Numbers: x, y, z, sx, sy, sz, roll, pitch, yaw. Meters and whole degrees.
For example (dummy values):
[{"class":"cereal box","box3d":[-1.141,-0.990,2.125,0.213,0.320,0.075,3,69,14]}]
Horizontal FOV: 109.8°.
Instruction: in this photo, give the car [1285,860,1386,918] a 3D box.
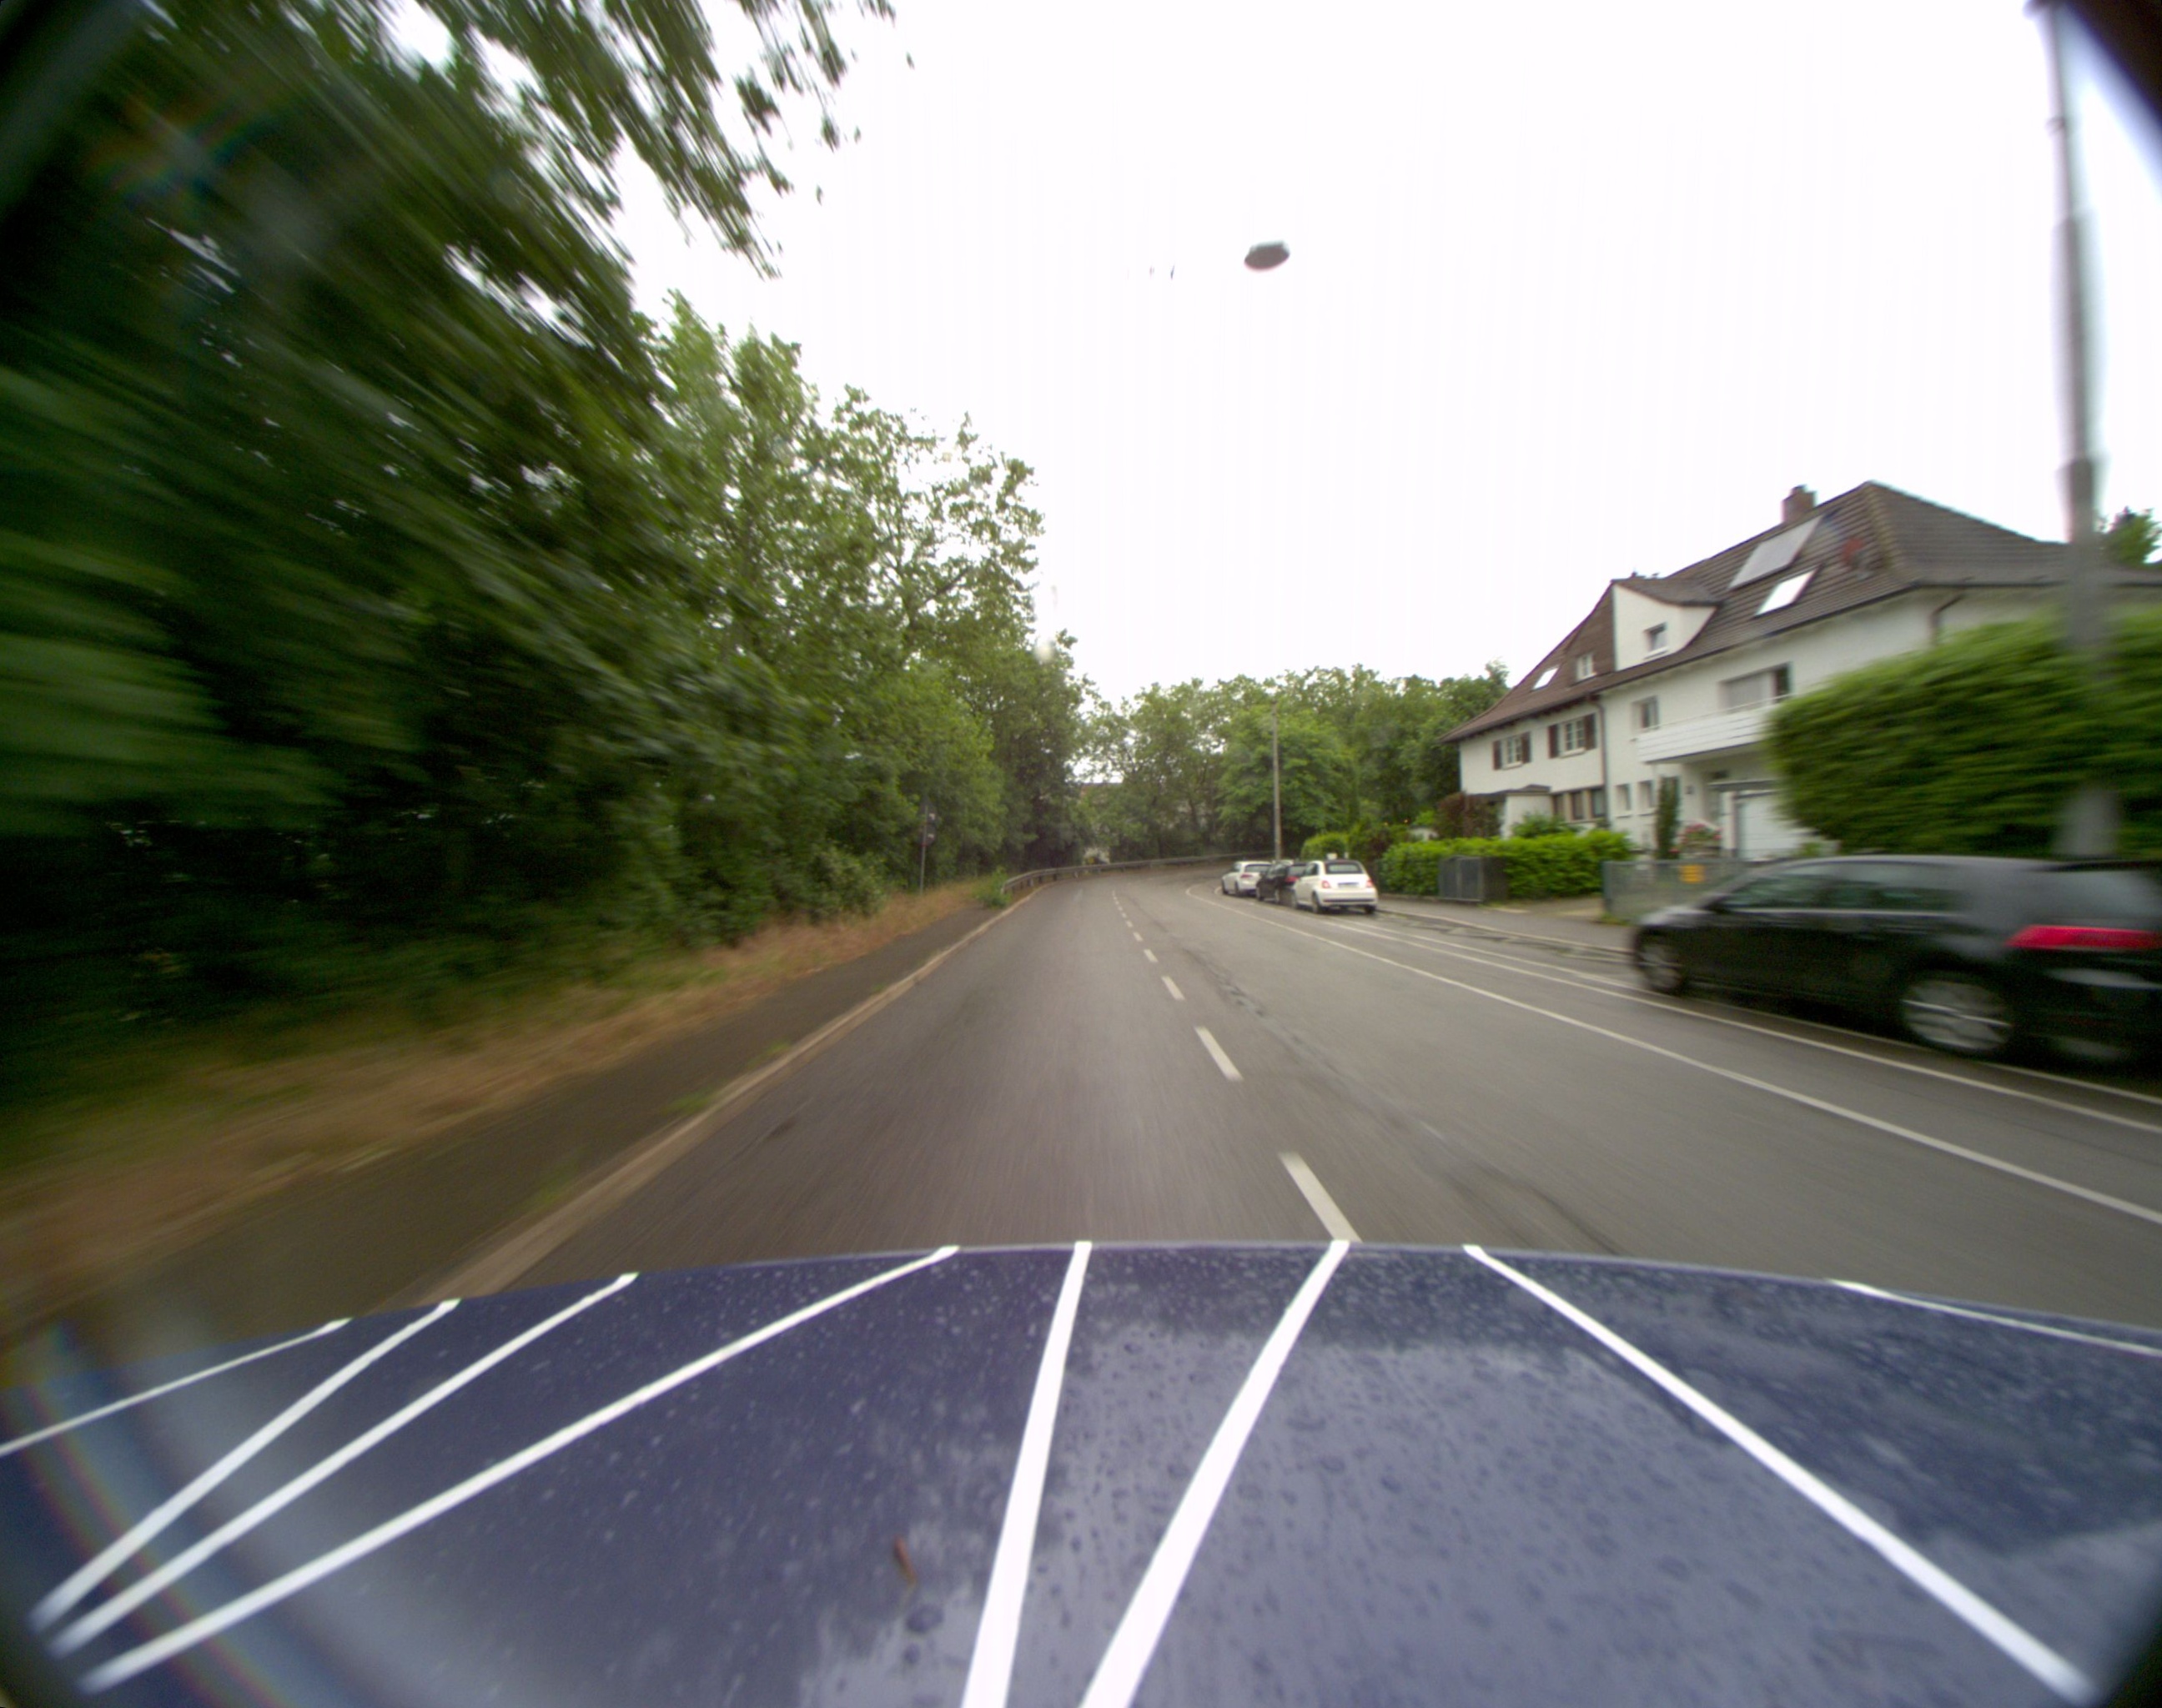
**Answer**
[{"class":"car","box3d":[7.207,0.929,21.905,1.702,1.459,3.711,-2,0,1]}]

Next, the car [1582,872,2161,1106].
[{"class":"car","box3d":[6.805,0.893,6.865,1.692,1.410,4.215,0,-1,-2]}]

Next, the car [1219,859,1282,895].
[{"class":"car","box3d":[7.058,0.966,32.025,1.737,1.413,4.284,0,-1,0]}]

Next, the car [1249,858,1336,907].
[{"class":"car","box3d":[7.208,0.916,26.383,1.702,1.516,4.422,-2,0,-1]}]
